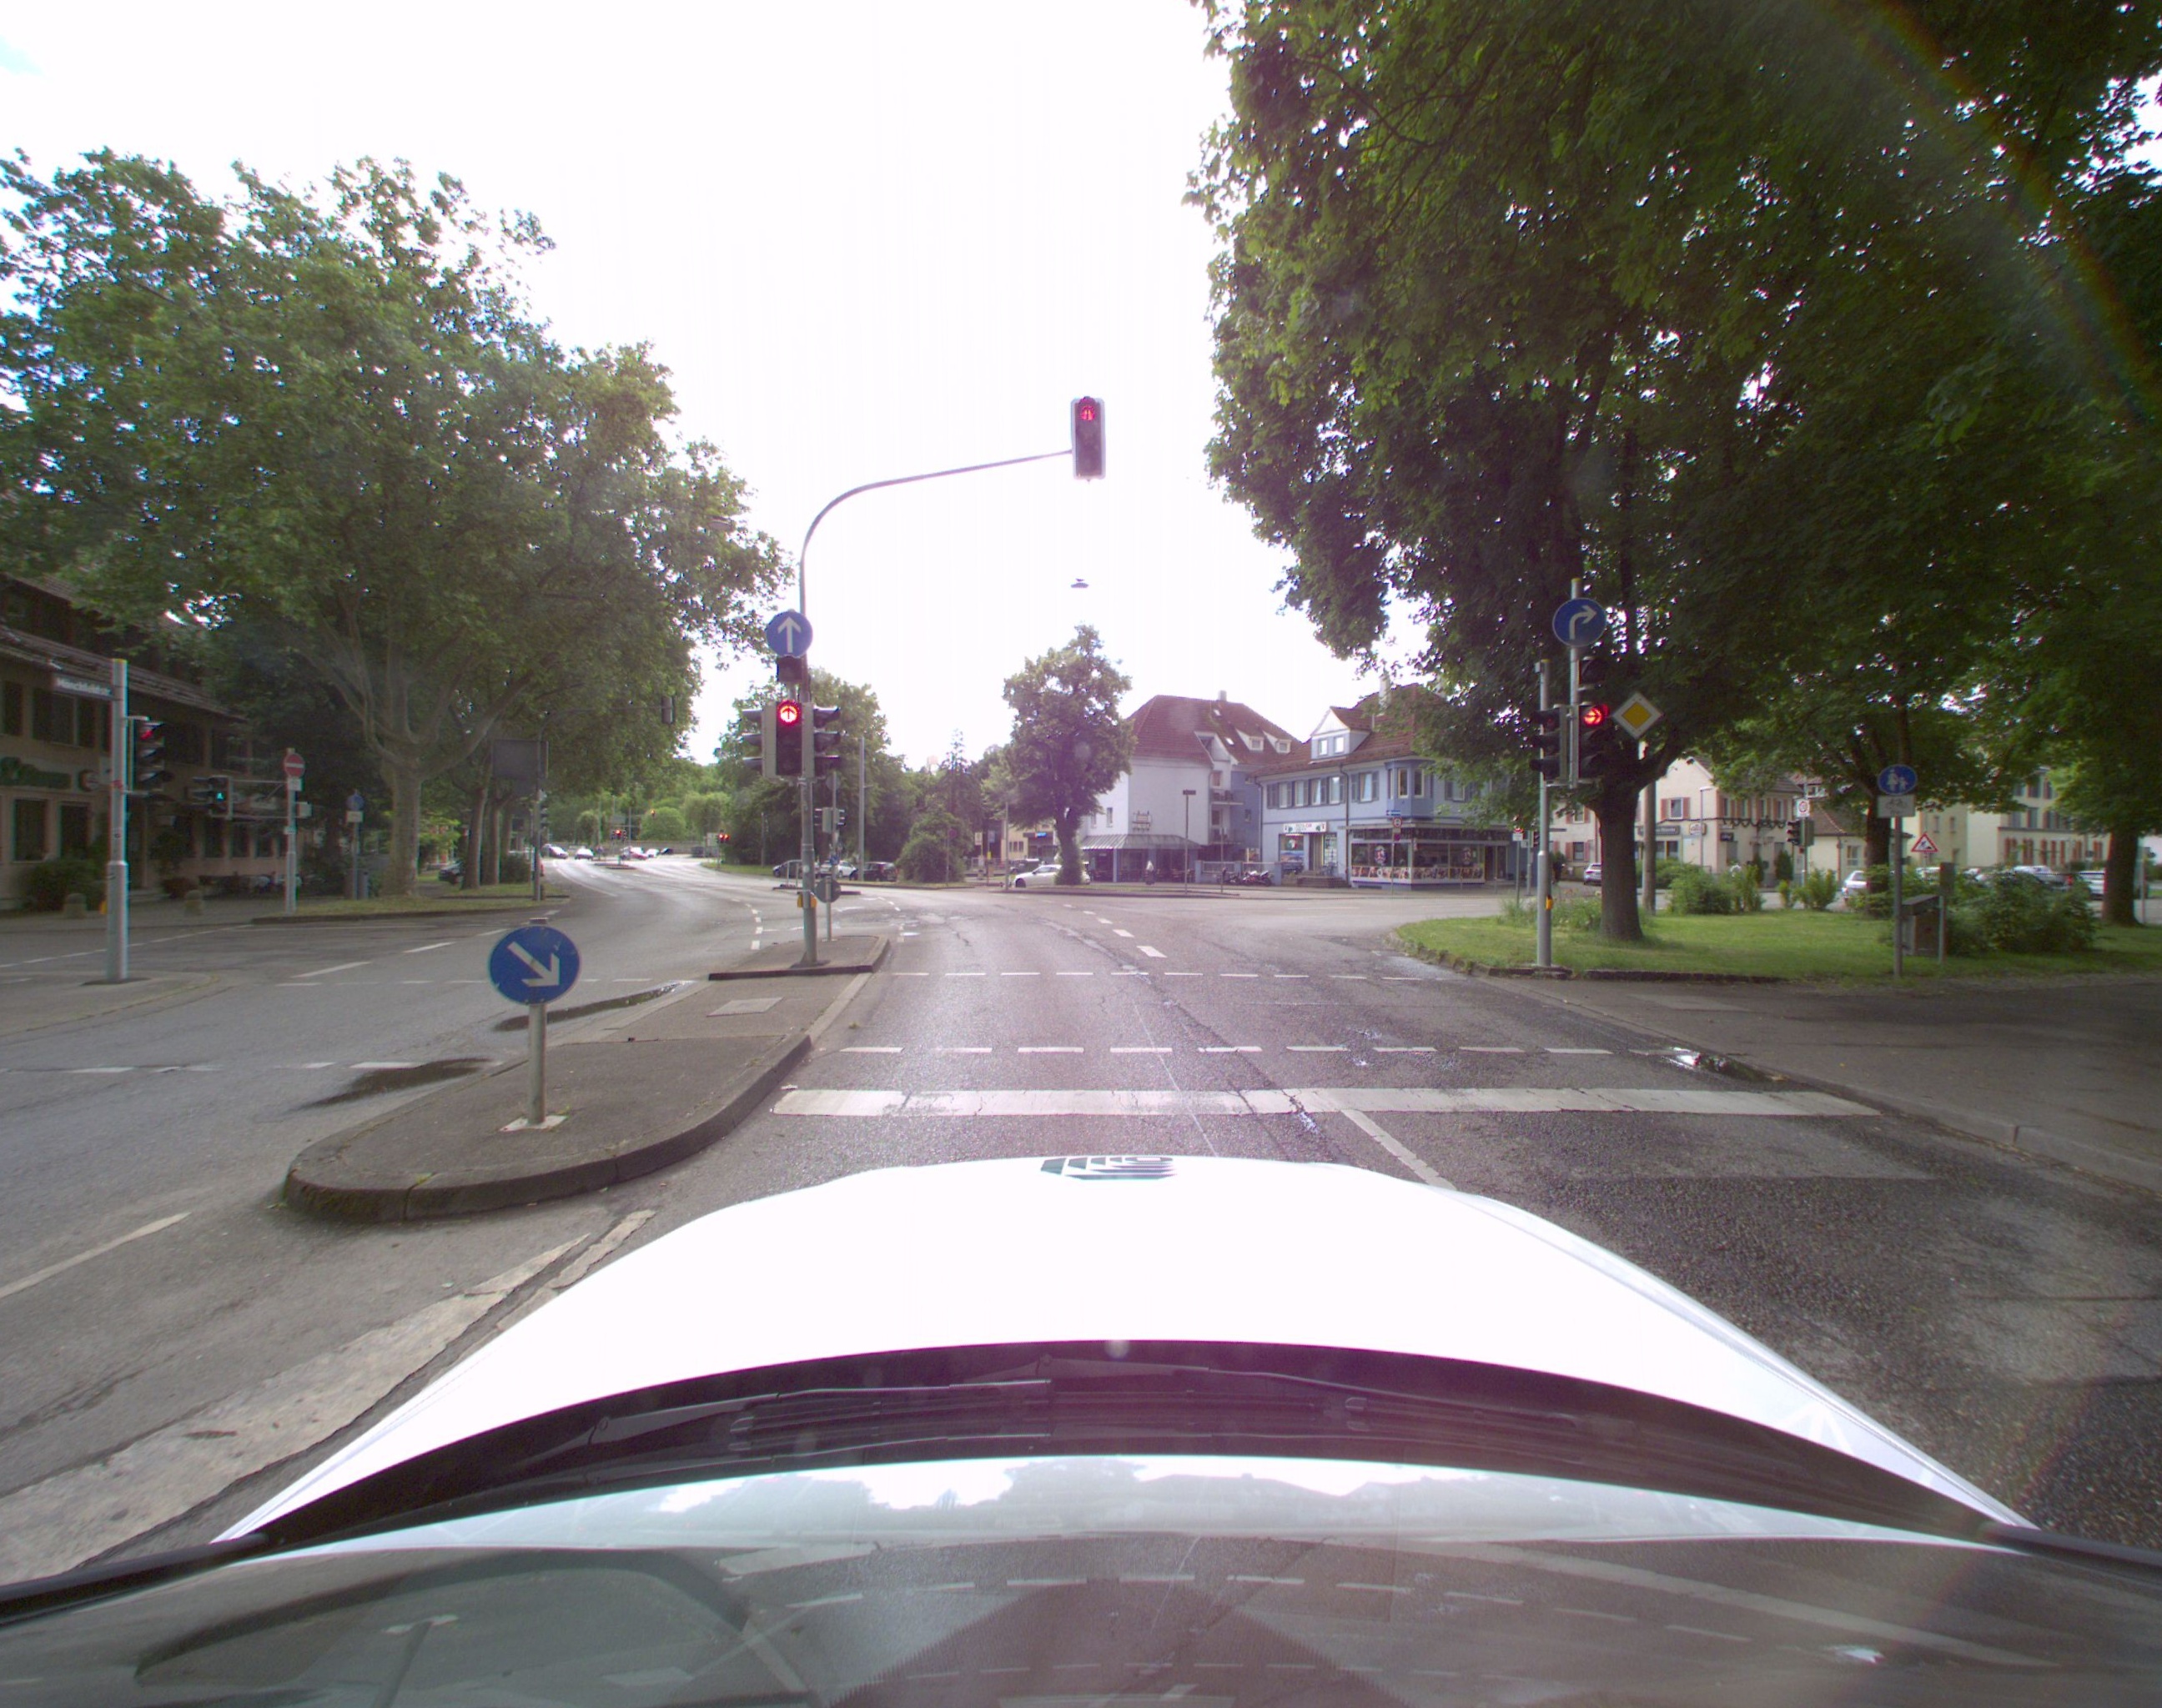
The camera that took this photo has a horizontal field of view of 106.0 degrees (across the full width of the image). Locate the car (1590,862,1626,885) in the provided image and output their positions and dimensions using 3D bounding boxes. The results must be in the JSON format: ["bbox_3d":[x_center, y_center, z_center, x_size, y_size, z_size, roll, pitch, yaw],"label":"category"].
[{"bbox_3d":[32.605,1.186,50.339,1.481,1.369,3.198,-1,-1,40],"label":"car"}]

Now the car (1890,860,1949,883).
[{"bbox_3d":[55.118,1.129,53.529,4.007,1.420,1.544,0,0,-26],"label":"car"}]

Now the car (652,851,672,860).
[{"bbox_3d":[-95.503,0.447,185.594,4.011,2.014,1.981,0,-1,-29],"label":"car"}]

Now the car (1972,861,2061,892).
[{"bbox_3d":[42.219,0.977,36.751,3.510,1.321,1.549,0,0,-21],"label":"car"}]

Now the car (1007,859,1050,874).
[{"bbox_3d":[-4.880,1.139,76.152,3.752,1.345,1.422,0,0,-25],"label":"car"}]

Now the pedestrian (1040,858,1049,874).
[{"bbox_3d":[-3.646,1.216,80.877,0.681,1.545,0.701,0,-1,-32],"label":"pedestrian"}]

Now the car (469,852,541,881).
[{"bbox_3d":[-35.482,0.760,50.278,3.461,1.742,1.557,0,-1,-31],"label":"car"}]

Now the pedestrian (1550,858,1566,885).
[{"bbox_3d":[27.272,0.993,46.550,0.459,1.517,0.584,0,-1,-18],"label":"pedestrian"}]

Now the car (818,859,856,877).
[{"bbox_3d":[-20.078,1.135,67.182,1.534,1.464,3.407,0,0,13],"label":"car"}]

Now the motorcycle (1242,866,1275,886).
[{"bbox_3d":[10.537,1.290,48.261,1.777,1.121,0.699,0,-1,40],"label":"motorcycle"}]

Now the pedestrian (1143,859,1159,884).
[{"bbox_3d":[4.439,1.105,51.875,0.759,1.545,0.682,-1,-1,41],"label":"pedestrian"}]

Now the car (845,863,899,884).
[{"bbox_3d":[-13.905,1.270,54.201,3.549,1.394,1.481,0,-1,34],"label":"car"}]

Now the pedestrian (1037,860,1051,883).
[{"bbox_3d":[-2.560,1.204,56.446,0.699,1.545,0.682,-1,-1,42],"label":"pedestrian"}]

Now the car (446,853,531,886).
[{"bbox_3d":[-30.999,0.787,42.712,3.461,1.641,1.557,0,-1,-31],"label":"car"}]

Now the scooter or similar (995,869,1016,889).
[{"bbox_3d":[-3.975,1.293,42.878,0.413,1.011,1.575,-1,-1,22],"label":"scooter or similar"}]

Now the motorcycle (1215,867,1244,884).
[{"bbox_3d":[9.116,1.316,50.075,0.699,1.064,1.617,0,-1,-44],"label":"motorcycle"}]

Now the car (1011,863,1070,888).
[{"bbox_3d":[-2.305,1.204,46.235,3.134,1.354,1.448,0,-1,36],"label":"car"}]

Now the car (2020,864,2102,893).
[{"bbox_3d":[47.006,1.168,39.058,3.511,1.321,1.549,0,0,-22],"label":"car"}]

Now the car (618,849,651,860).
[{"bbox_3d":[-68.720,0.073,125.269,3.989,1.783,1.992,0,0,-12],"label":"car"}]

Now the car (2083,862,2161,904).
[{"bbox_3d":[52.834,1.436,41.125,4.004,2.014,1.770,0,-1,-23],"label":"car"}]

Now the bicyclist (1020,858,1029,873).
[{"bbox_3d":[-5.755,1.164,83.285,0.732,1.541,0.602,0,-1,13],"label":"bicyclist"}]

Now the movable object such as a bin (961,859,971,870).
[{"bbox_3d":[-12.221,1.125,86.635,0.953,1.115,0.381,0,-1,-19],"label":"movable object such as a bin"}]

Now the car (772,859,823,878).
[{"bbox_3d":[-22.437,1.118,64.480,3.520,1.464,1.591,0,0,14],"label":"car"}]

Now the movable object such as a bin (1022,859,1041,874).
[{"bbox_3d":[-4.522,1.138,74.245,1.447,1.409,0.959,0,-1,-25],"label":"movable object such as a bin"}]

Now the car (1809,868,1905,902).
[{"bbox_3d":[31.966,1.253,33.567,3.511,1.321,1.549,0,0,-22],"label":"car"}]

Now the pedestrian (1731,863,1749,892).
[{"bbox_3d":[37.560,1.351,46.416,0.611,1.649,0.606,0,-1,-27],"label":"pedestrian"}]
